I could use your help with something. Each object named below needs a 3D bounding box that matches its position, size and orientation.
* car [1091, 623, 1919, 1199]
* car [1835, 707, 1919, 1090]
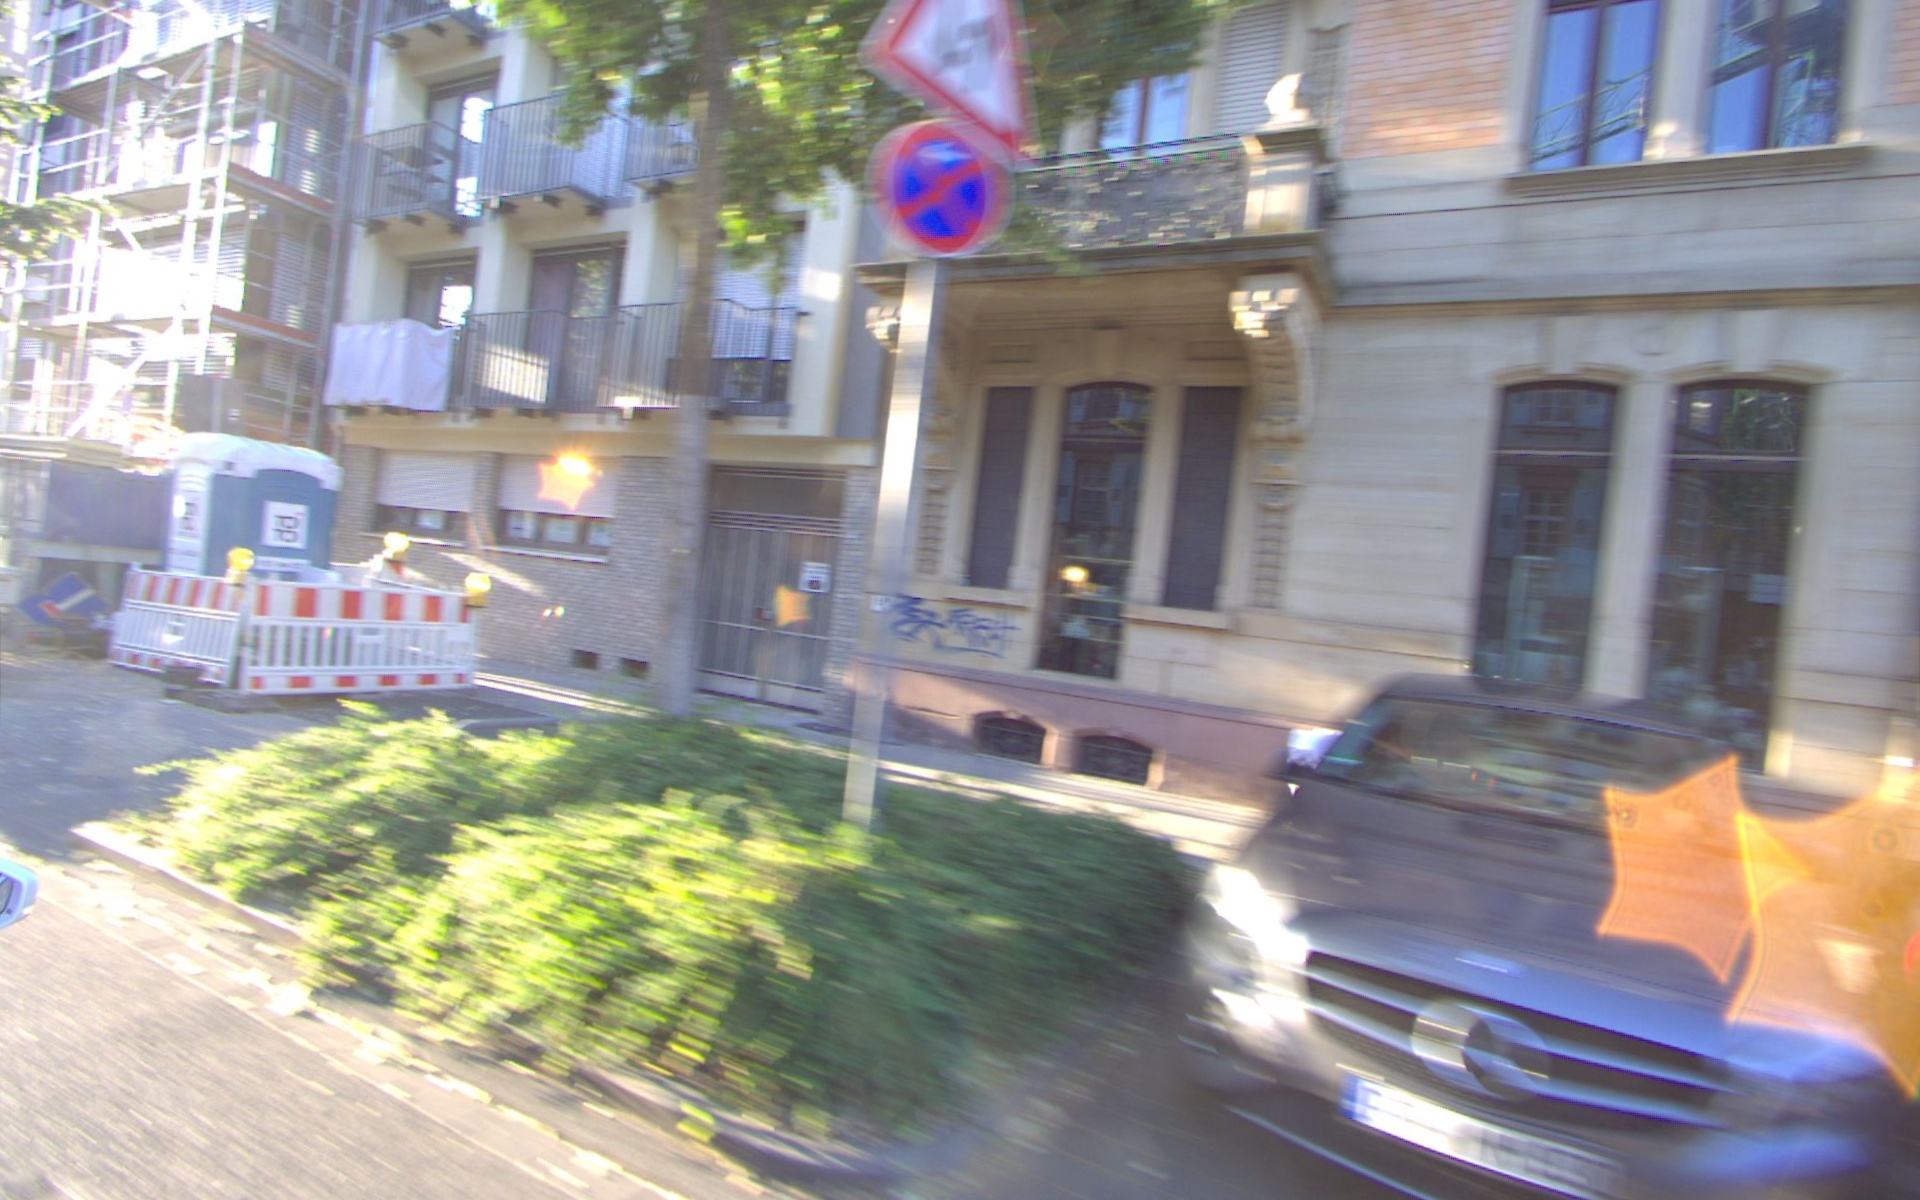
[{"bbox_3d":[2.442,1.038,4.265,1.838,1.497,4.529,6,0,33],"label":"car"},{"bbox_3d":[4.284,1.260,2.646,1.878,1.530,4.534,6,0,28],"label":"car"}]
